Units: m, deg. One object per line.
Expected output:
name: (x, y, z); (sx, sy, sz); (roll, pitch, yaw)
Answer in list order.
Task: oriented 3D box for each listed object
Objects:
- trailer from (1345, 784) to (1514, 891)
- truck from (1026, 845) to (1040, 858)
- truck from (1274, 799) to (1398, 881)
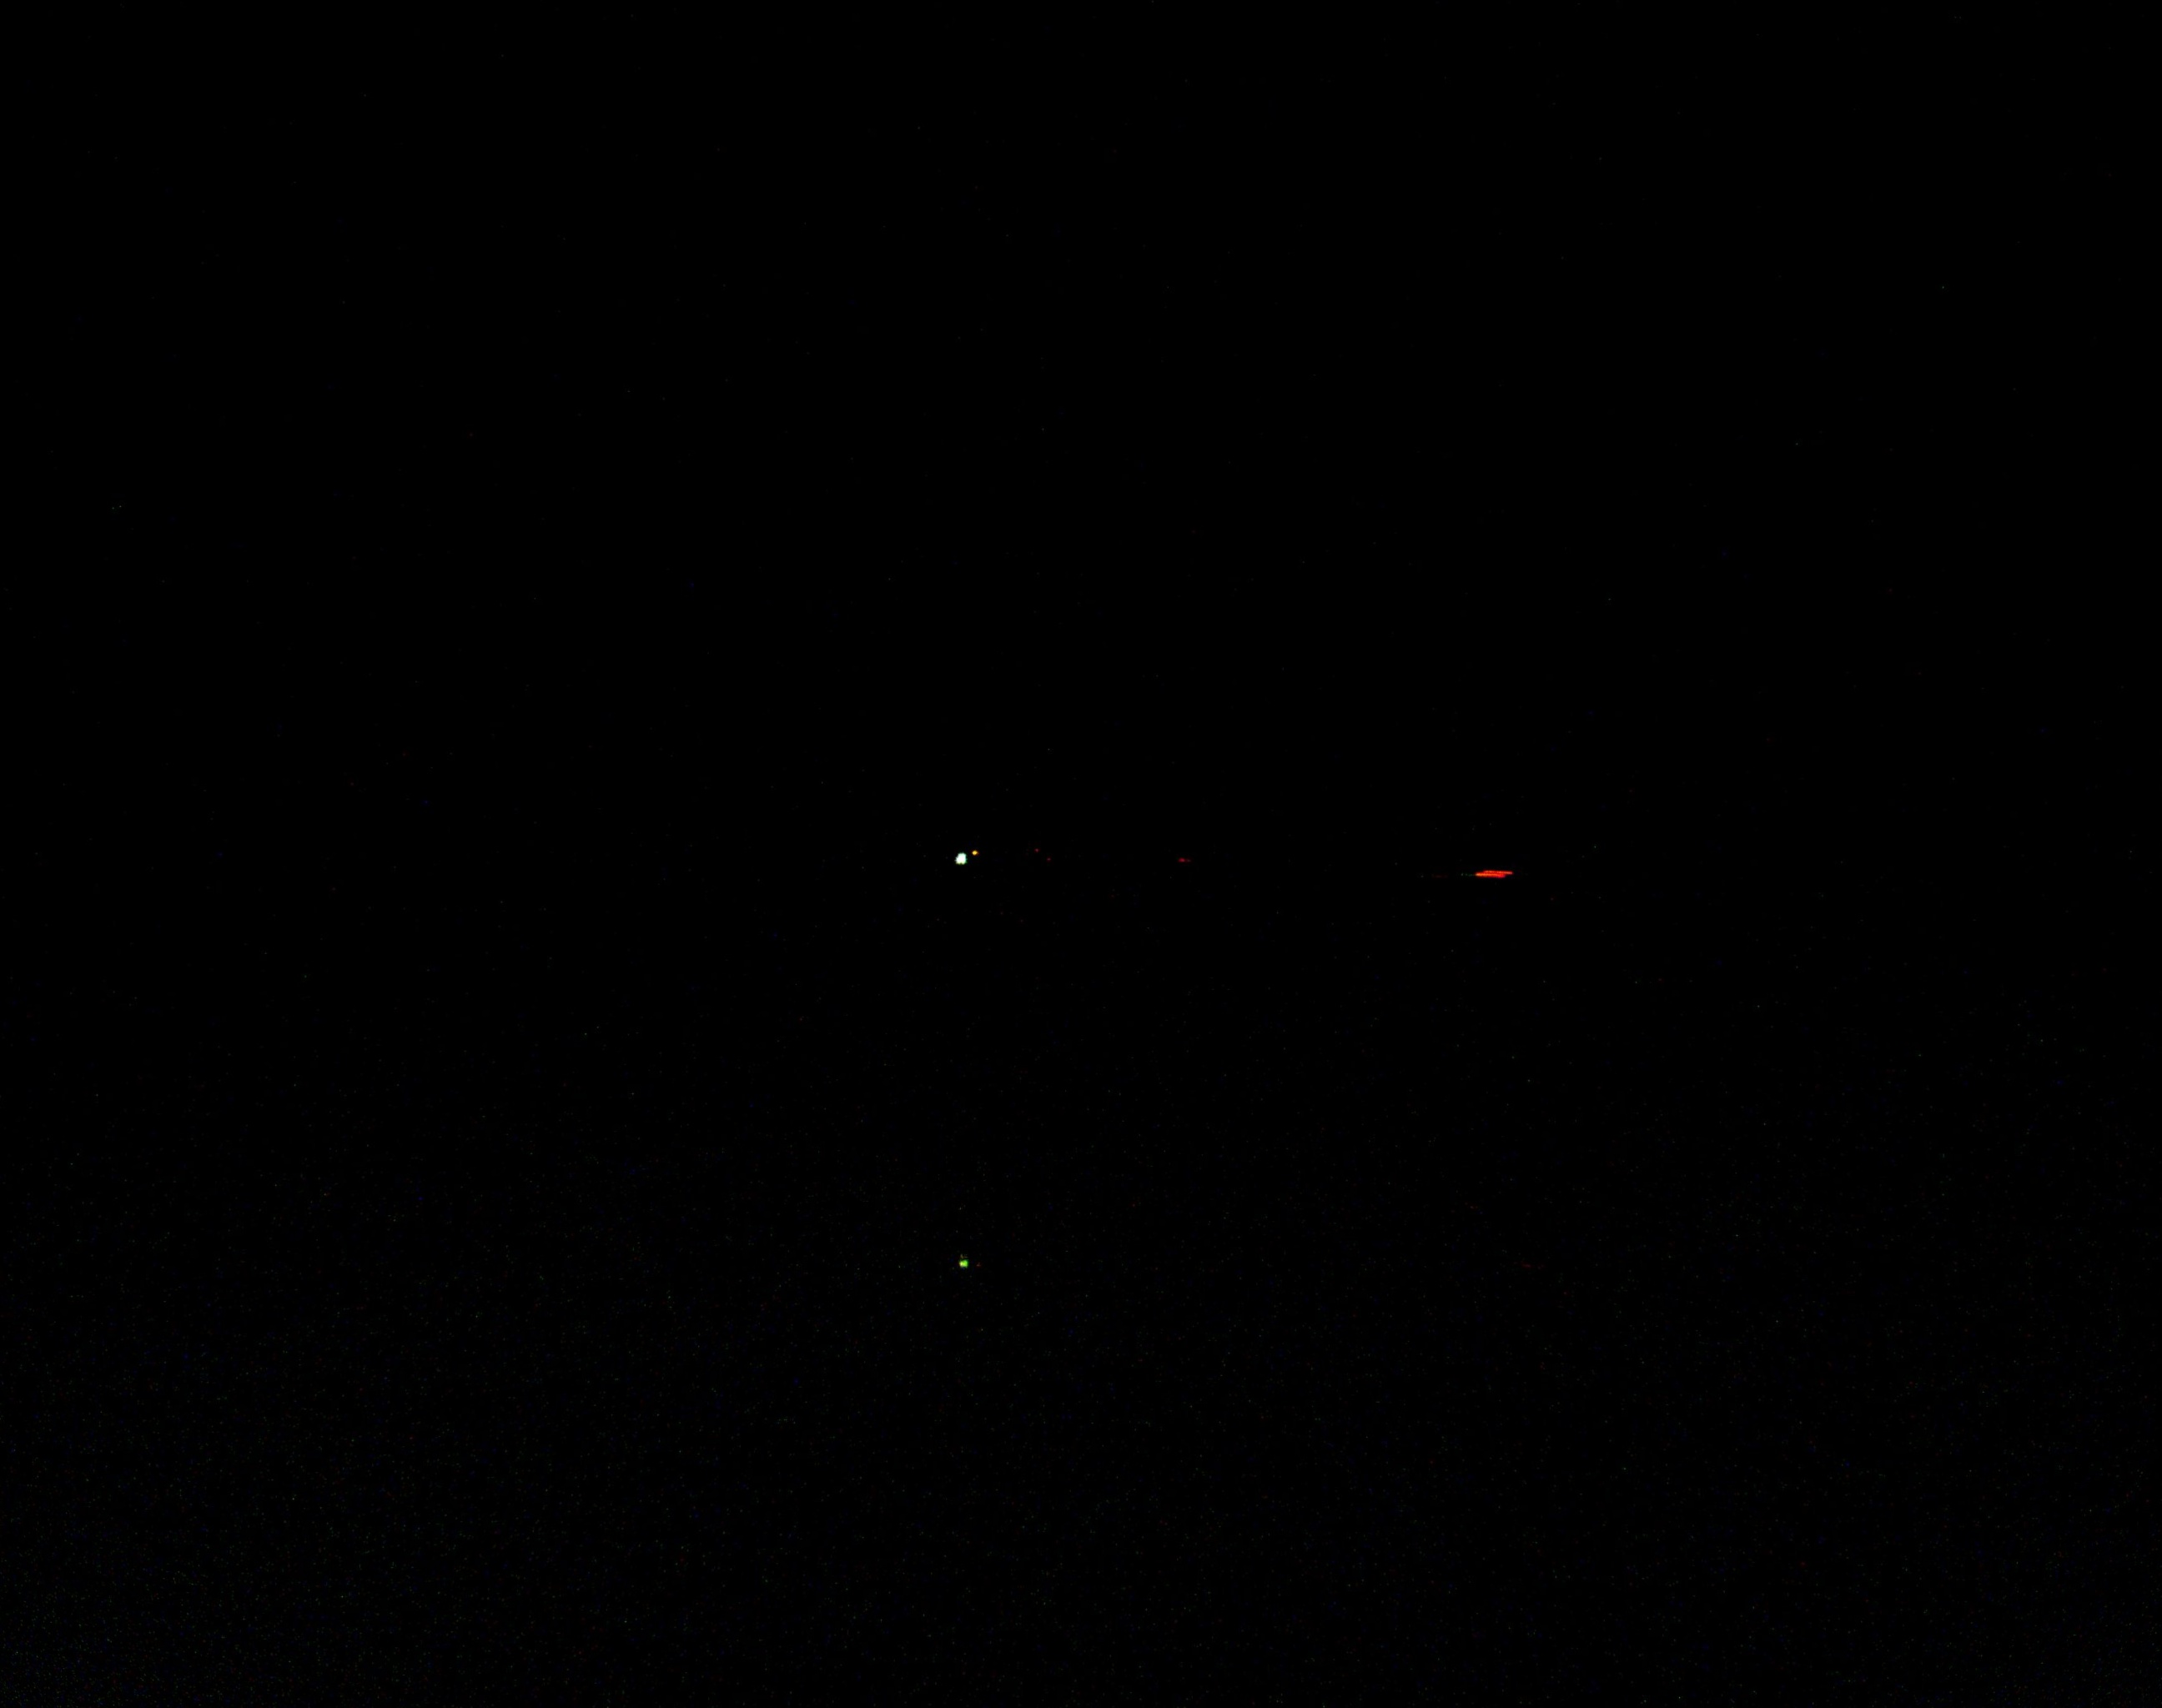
trailer: (14.546, -0.642, 32.759); (2.725, 3.933, 9.044); (-1, 0, -3)
truck: (-15.576, -0.874, 245.624); (2.755, 4.103, 13.896); (-1, 0, -9)
truck: (13.907, -0.717, 42.661); (2.688, 4.021, 10.649); (-1, 0, -4)
